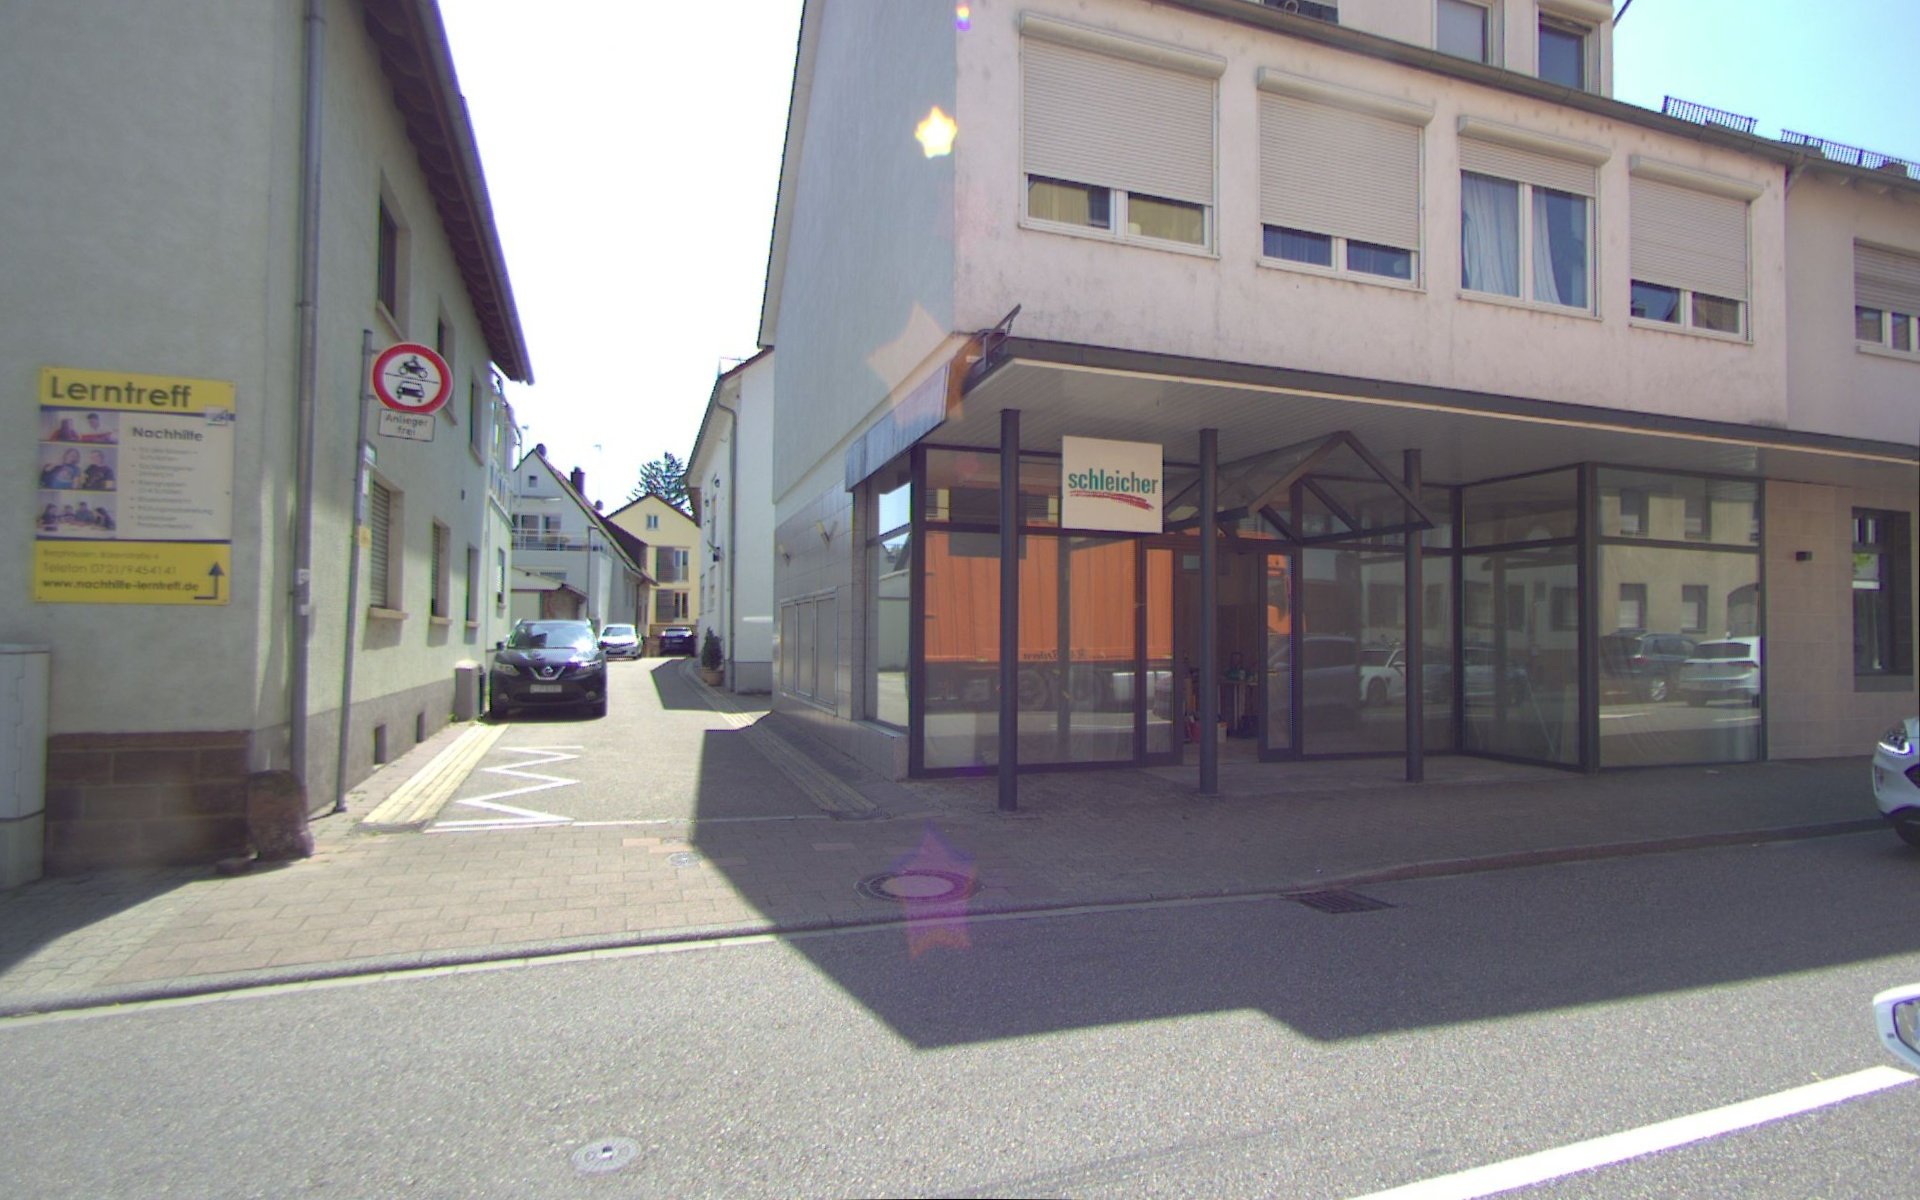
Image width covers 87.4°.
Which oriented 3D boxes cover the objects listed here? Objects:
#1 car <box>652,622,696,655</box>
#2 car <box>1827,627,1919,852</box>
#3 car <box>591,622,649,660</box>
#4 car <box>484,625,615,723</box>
[{"bbox_3d":[-14.146,1.884,49.868,1.859,1.560,3.991,1,-2,-13],"label":"car"},{"bbox_3d":[8.791,1.014,7.504,4.138,1.574,1.815,2,-4,-23],"label":"car"},{"bbox_3d":[-14.544,1.751,43.164,1.858,1.560,3.992,1,-2,-11],"label":"car"},{"bbox_3d":[-7.065,1.194,17.414,1.864,1.483,3.980,1,-2,-22],"label":"car"}]
